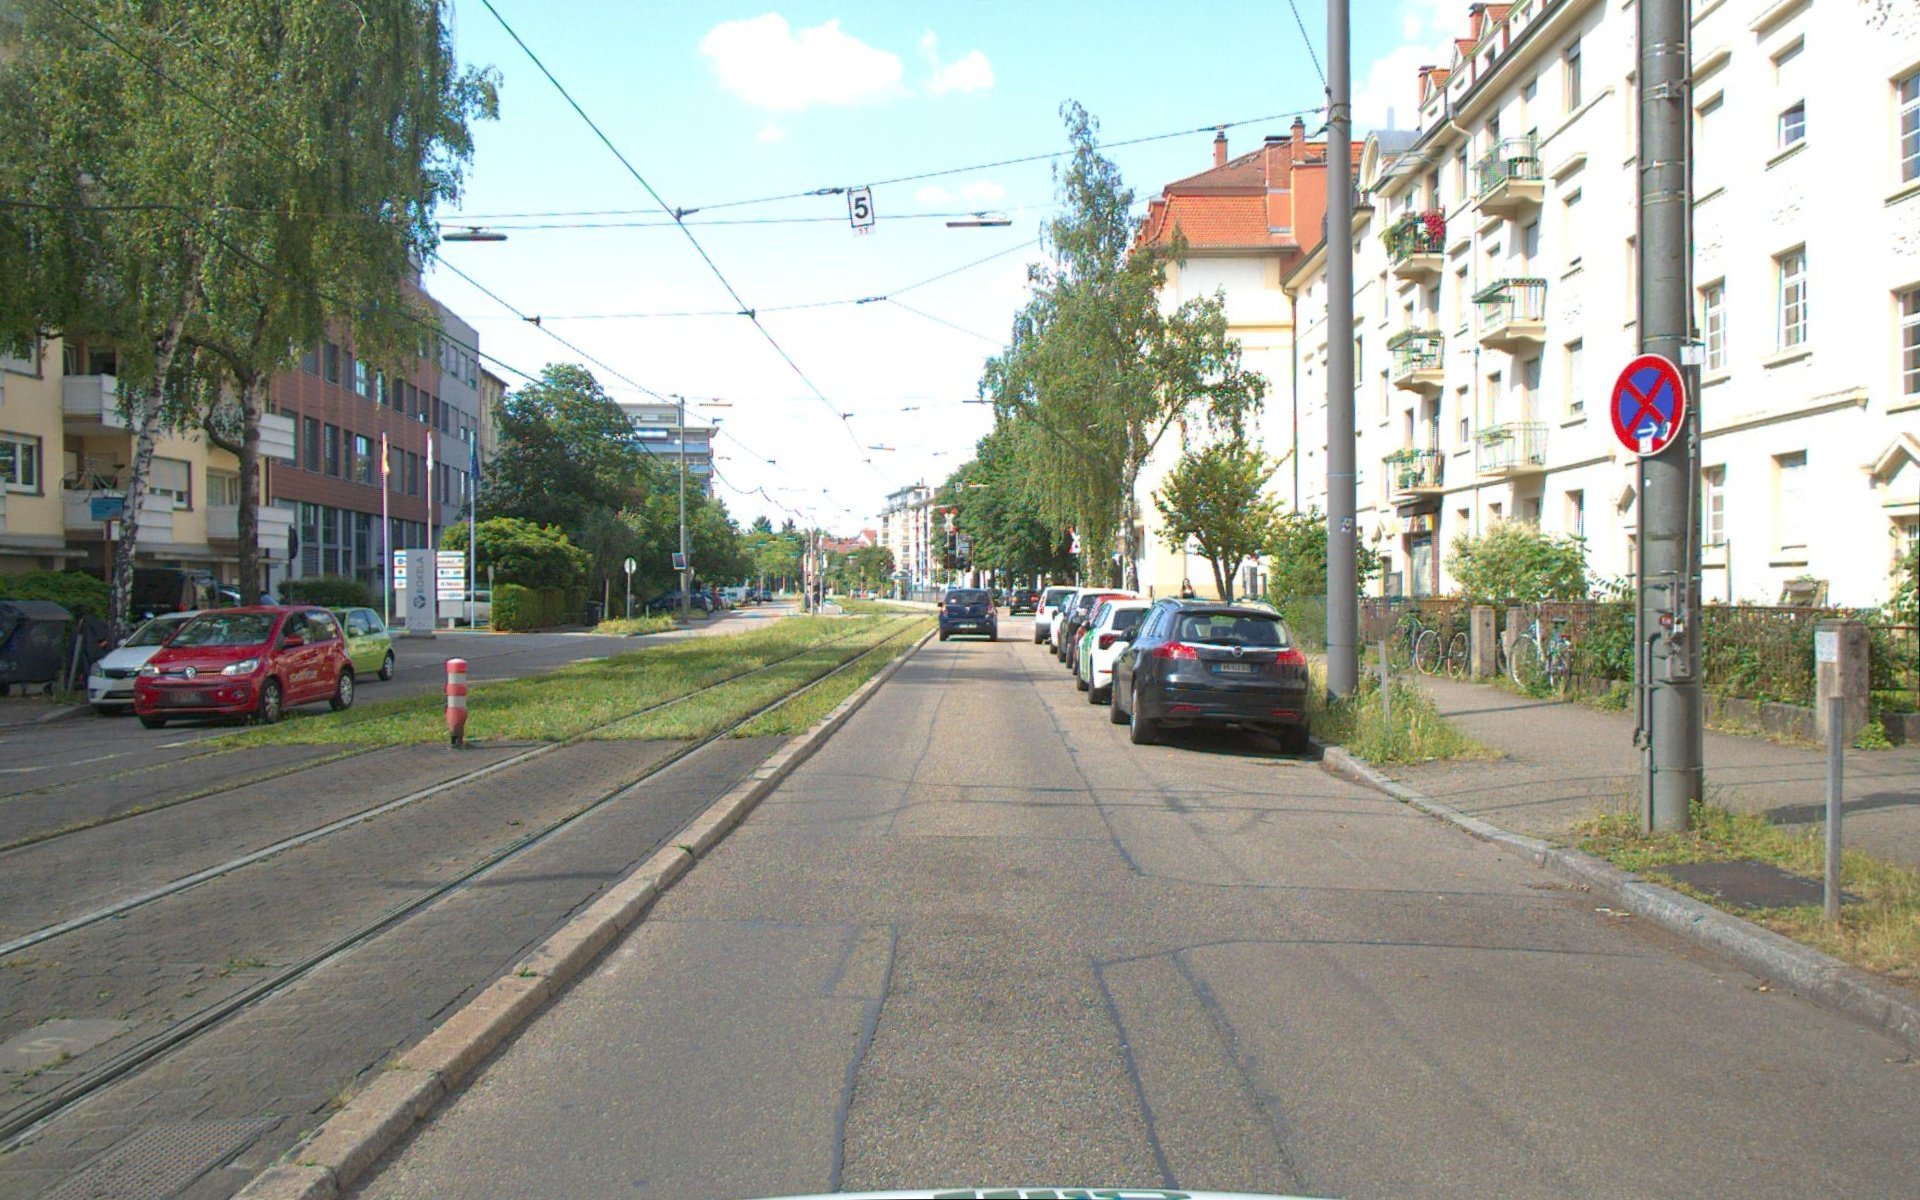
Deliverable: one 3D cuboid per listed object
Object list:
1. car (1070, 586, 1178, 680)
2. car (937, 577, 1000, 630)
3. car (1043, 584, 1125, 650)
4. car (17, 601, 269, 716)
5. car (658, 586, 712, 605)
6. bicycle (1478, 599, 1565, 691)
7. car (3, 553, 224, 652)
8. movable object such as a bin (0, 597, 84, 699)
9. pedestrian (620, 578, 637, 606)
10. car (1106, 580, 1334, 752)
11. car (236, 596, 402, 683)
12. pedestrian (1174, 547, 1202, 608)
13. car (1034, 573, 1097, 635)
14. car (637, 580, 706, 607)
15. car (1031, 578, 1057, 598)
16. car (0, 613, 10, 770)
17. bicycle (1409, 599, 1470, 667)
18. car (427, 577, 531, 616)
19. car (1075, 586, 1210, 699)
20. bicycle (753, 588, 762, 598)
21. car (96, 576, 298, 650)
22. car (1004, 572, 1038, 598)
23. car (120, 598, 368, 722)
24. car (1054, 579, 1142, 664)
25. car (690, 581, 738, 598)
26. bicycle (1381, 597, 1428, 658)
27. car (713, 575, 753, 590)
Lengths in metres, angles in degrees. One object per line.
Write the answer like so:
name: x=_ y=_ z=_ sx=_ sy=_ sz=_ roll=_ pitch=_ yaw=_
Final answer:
car: x=2.879 y=0.541 z=29.725 sx=1.556 sy=1.477 sz=3.845 roll=3 pitch=1 yaw=1
car: x=0.289 y=0.074 z=48.806 sx=1.731 sy=1.487 sz=3.777 roll=-1 pitch=1 yaw=2
car: x=2.930 y=0.373 z=39.688 sx=1.638 sy=1.441 sz=3.795 roll=2 pitch=1 yaw=0
car: x=-12.279 y=0.812 z=25.175 sx=1.610 sy=1.503 sz=4.227 roll=-1 pitch=1 yaw=2
car: x=-18.518 y=-0.323 z=111.552 sx=3.364 sy=1.258 sz=1.519 roll=-1 pitch=1 yaw=-45
bicycle: x=7.271 y=0.551 z=21.489 sx=0.461 sy=1.096 sz=2.183 roll=-1 pitch=1 yaw=2
car: x=-18.816 y=0.041 z=36.870 sx=3.903 sy=2.049 sz=1.938 roll=1 pitch=1 yaw=4
movable object such as a bin: x=-14.191 y=0.707 z=25.111 sx=0.931 sy=1.454 sz=1.522 roll=2 pitch=1 yaw=0
pedestrian: x=-19.281 y=-0.453 z=96.199 sx=0.729 sy=1.601 sz=0.890 roll=-1 pitch=-1 yaw=3
car: x=2.670 y=0.598 z=17.981 sx=1.755 sy=1.547 sz=4.527 roll=2 pitch=1 yaw=0
car: x=-11.906 y=0.687 z=30.950 sx=1.561 sy=1.457 sz=3.615 roll=-1 pitch=1 yaw=2
pedestrian: x=6.565 y=-0.649 z=47.673 sx=0.714 sy=1.712 sz=0.691 roll=-2 pitch=1 yaw=4
car: x=3.043 y=0.087 z=47.659 sx=1.685 sy=1.658 sz=4.002 roll=2 pitch=1 yaw=4
car: x=-18.395 y=-0.406 z=105.539 sx=4.102 sy=1.669 sz=1.698 roll=-1 pitch=1 yaw=-45
car: x=6.449 y=-0.935 z=127.281 sx=1.823 sy=1.470 sz=4.000 roll=-2 pitch=1 yaw=0
car: x=-9.427 y=0.862 z=12.477 sx=1.718 sy=1.380 sz=4.514 roll=-2 pitch=0 yaw=3
bicycle: x=7.360 y=0.486 z=25.454 sx=0.370 sy=0.960 sz=2.009 roll=0 pitch=1 yaw=0
car: x=-20.638 y=-0.143 z=71.076 sx=3.907 sy=1.624 sz=1.999 roll=0 pitch=1 yaw=-2
car: x=2.621 y=0.564 z=24.470 sx=1.586 sy=1.478 sz=3.919 roll=2 pitch=1 yaw=1
bicycle: x=-20.364 y=-0.719 z=166.301 sx=0.667 sy=0.988 sz=2.178 roll=-1 pitch=1 yaw=-1
car: x=-18.271 y=0.292 z=39.718 sx=3.905 sy=1.630 sz=1.973 roll=1 pitch=1 yaw=1
car: x=3.406 y=-0.853 z=92.670 sx=1.665 sy=1.391 sz=3.514 roll=2 pitch=1 yaw=-1
car: x=-9.290 y=0.719 z=21.772 sx=1.546 sy=1.411 sz=3.694 roll=-1 pitch=1 yaw=2
car: x=2.821 y=0.403 z=34.389 sx=1.463 sy=1.606 sz=3.759 roll=2 pitch=1 yaw=0
car: x=-21.589 y=-0.924 z=145.201 sx=1.687 sy=1.391 sz=3.973 roll=-1 pitch=1 yaw=44
bicycle: x=7.355 y=0.447 z=27.408 sx=0.379 sy=0.955 sz=1.586 roll=0 pitch=1 yaw=1
car: x=-24.054 y=-1.867 z=175.540 sx=3.962 sy=1.472 sz=1.703 roll=-1 pitch=1 yaw=-40
